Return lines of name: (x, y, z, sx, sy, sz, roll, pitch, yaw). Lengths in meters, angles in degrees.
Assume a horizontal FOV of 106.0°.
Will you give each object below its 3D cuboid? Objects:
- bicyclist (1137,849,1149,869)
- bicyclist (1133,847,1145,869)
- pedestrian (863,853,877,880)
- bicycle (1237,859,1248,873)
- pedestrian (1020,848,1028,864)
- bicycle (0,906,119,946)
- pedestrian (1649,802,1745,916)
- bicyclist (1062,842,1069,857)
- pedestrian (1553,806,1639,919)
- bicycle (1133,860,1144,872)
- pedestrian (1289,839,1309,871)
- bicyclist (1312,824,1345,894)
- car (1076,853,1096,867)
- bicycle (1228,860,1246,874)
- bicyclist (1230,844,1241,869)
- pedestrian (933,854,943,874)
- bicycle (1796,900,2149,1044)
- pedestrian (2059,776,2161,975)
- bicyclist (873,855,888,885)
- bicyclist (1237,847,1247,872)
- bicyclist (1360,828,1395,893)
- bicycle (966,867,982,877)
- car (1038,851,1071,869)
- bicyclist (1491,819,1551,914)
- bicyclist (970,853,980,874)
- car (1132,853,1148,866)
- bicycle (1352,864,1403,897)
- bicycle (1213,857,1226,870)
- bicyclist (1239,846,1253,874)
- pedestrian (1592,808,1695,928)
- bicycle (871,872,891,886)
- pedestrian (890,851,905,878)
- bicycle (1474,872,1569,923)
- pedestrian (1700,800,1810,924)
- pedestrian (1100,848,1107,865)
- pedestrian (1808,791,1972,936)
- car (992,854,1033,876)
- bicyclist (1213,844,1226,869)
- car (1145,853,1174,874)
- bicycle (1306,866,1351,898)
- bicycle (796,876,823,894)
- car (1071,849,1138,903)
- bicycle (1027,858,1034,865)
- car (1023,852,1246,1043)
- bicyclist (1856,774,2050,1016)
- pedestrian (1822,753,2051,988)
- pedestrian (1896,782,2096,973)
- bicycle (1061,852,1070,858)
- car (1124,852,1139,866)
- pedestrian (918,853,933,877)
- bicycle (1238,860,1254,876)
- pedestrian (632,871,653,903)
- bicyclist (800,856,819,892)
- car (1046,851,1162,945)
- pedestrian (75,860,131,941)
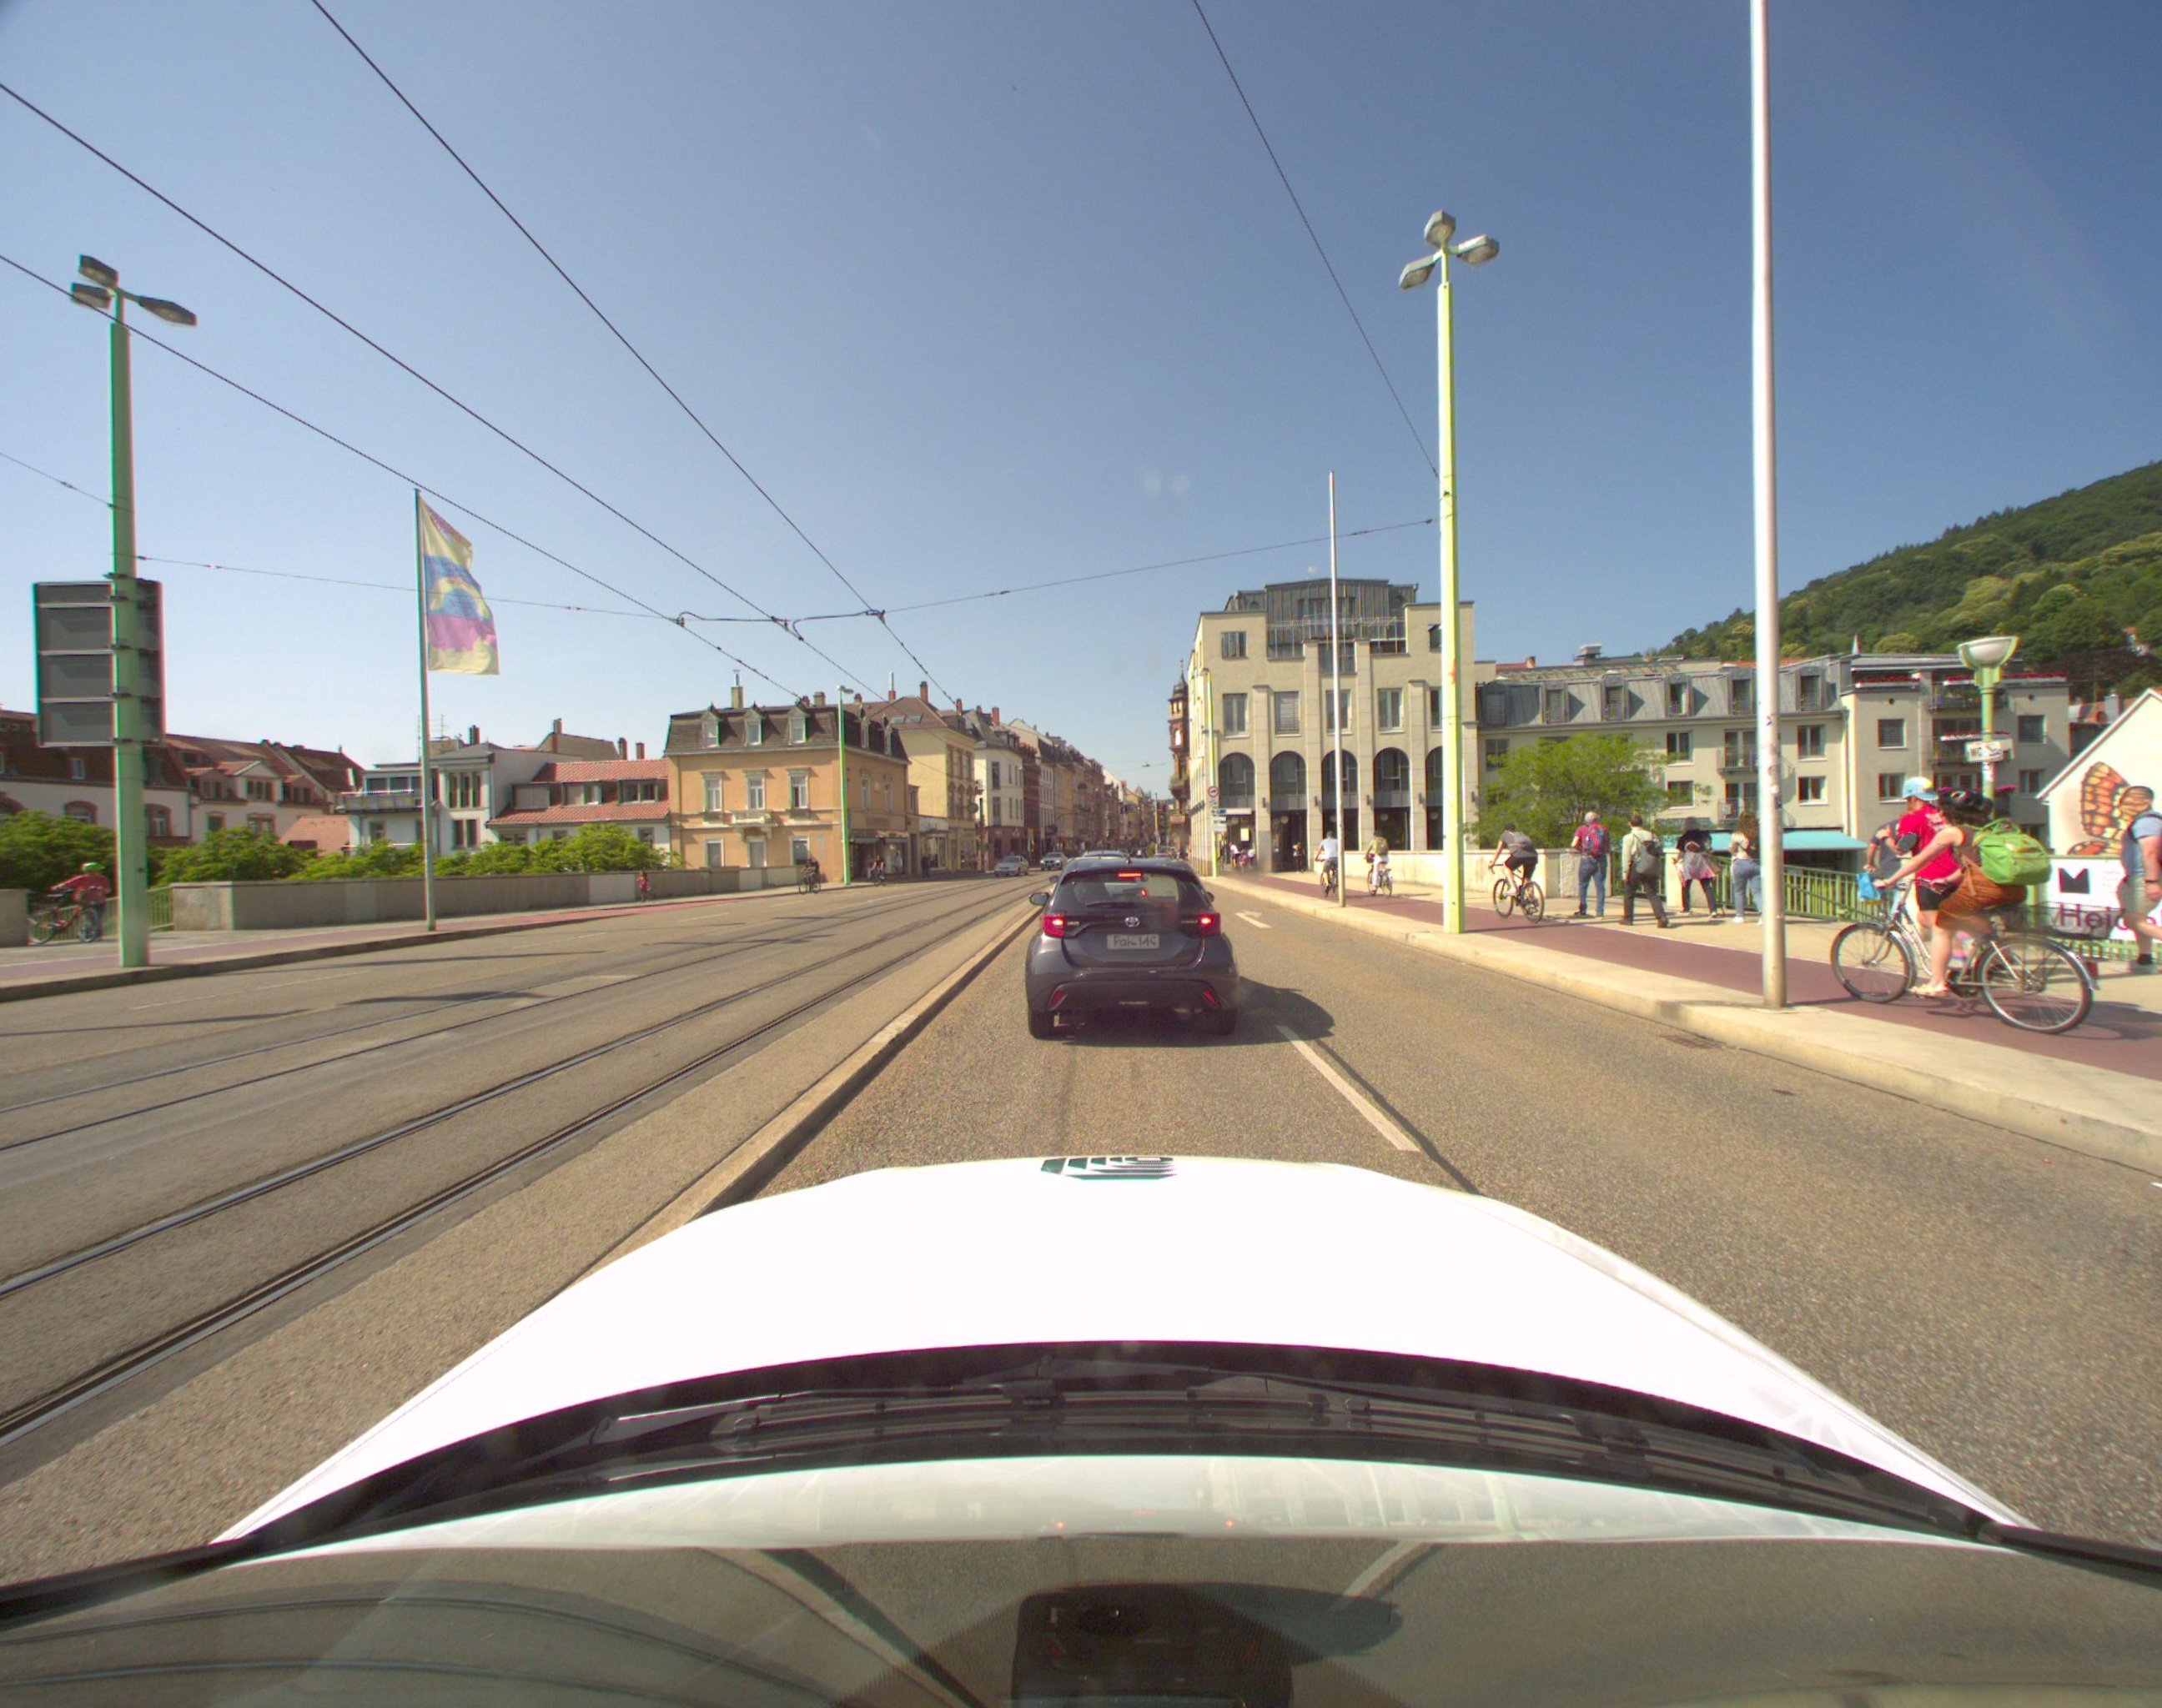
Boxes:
bicyclist: (8.162, 0.705, 106.804, 1.219, 2.529, 1.109, 3, 0, 13)
bicyclist: (7.013, 0.459, 97.991, 1.221, 2.529, 1.107, 3, 0, 7)
pedestrian: (-13.032, 0.796, 50.243, 0.646, 1.602, 0.566, 3, 2, 2)
bicycle: (8.910, 0.660, 44.985, 0.415, 0.765, 0.962, -3, 0, 2)
pedestrian: (-6.174, 0.218, 88.196, 0.733, 1.766, 0.787, 3, 0, 2)
bicycle: (-20.345, 1.413, 16.110, 1.920, 0.716, 0.622, 0, 1, 1)
pedestrian: (10.197, 0.079, 13.518, 0.736, 1.777, 1.016, -3, 0, 1)
bicyclist: (-1.803, -0.542, 93.119, 0.701, 1.650, 0.623, 0, 1, 10)
pedestrian: (8.673, 0.138, 13.751, 0.736, 1.802, 1.016, -3, 0, 1)
bicycle: (6.917, 1.450, 98.067, 1.106, 1.420, 3.013, 3, 0, 7)
pedestrian: (11.575, 0.062, 43.210, 0.736, 1.615, 1.016, 3, 0, 1)
bicyclist: (6.618, 0.142, 21.802, 0.585, 1.820, 0.702, -2, 0, -1)
car: (0.609, 0.642, 92.802, 1.784, 1.545, 3.930, -2, 0, 8)
bicycle: (9.112, 0.747, 47.608, 0.950, 0.765, 0.420, -3, 0, 24)
bicyclist: (9.053, 0.138, 47.612, 0.438, 1.466, 0.488, -3, 0, 24)
pedestrian: (-11.497, 0.797, 65.639, 0.646, 1.602, 0.566, 3, 2, 2)
bicycle: (6.399, 0.792, 6.031, 0.591, 0.765, 1.867, -3, 0, 2)
pedestrian: (9.676, 0.174, 7.218, 0.736, 1.718, 1.016, -2, 0, 1)
bicyclist: (-11.167, 0.873, 45.382, 0.625, 1.650, 0.622, 0, 1, 2)
bicyclist: (8.884, 0.301, 44.978, 0.420, 1.383, 0.443, -3, 0, 1)
bicyclist: (7.735, 0.168, 21.257, 0.585, 1.650, 0.702, -2, 0, -1)
bicycle: (-8.285, 1.411, 63.120, 0.616, 0.716, 2.051, 0, 1, 11)
car: (-2.349, 0.524, 73.666, 1.981, 1.586, 4.665, -2, 0, 10)
bicyclist: (7.512, 0.214, 13.937, 0.585, 1.559, 0.702, -2, 0, -1)
bicyclist: (-8.241, 0.750, 63.305, 0.623, 1.650, 0.623, 0, 1, 10)
car: (9.705, 0.858, 133.481, 1.981, 2.013, 4.011, 3, 0, 10)
bicycle: (7.754, 0.676, 21.370, 0.592, 0.765, 1.866, -3, 0, -1)
bicycle: (9.595, 0.659, 56.497, 0.701, 0.882, 1.526, 3, 0, 2)
bicyclist: (8.472, 0.320, 41.889, 0.532, 1.383, 0.669, -3, 0, 1)
pedestrian: (8.540, 0.205, 12.409, 0.752, 1.718, 1.073, -3, 0, 1)
bicycle: (-11.167, 1.396, 45.458, 0.618, 0.716, 1.732, 0, 1, 2)
pedestrian: (-12.241, 0.707, 54.419, 0.733, 1.766, 0.787, 3, 0, 2)
bicycle: (7.529, 0.718, 14.015, 0.592, 0.765, 1.830, -3, 0, -1)
pedestrian: (10.094, 0.119, 12.240, 0.737, 1.746, 1.016, -3, 0, 0)
pedestrian: (3.580, 0.383, 128.533, 1.047, 2.588, 1.502, 3, 0, 2)
pedestrian: (10.733, 0.110, 10.842, 1.204, 1.777, 0.977, -3, 0, -11)
car: (-4.857, 0.770, 58.034, 1.720, 1.460, 4.387, -2, 0, 11)
bicyclist: (9.606, 0.145, 56.505, 0.699, 1.695, 0.925, 3, 0, 2)
car: (5.516, 0.638, 57.630, 1.699, 1.466, 4.327, 0, 0, 1)
bicycle: (6.638, 0.745, 21.898, 0.592, 0.765, 1.866, -3, 0, -1)
bicycle: (-12.569, 1.427, 37.730, 0.618, 0.716, 1.772, 0, 1, 2)
car: (0.713, 0.622, 25.194, 1.890, 1.530, 4.001, 0, 0, 1)
bicycle: (-5.456, 0.801, 88.286, 0.618, 0.716, 1.772, 3, 0, 2)
car: (0.459, 0.716, 8.114, 1.713, 1.473, 3.659, 0, 0, 1)
bicyclist: (6.371, 0.285, 5.989, 0.602, 1.650, 0.702, -2, 0, 2)
pedestrian: (7.642, 0.137, 7.352, 0.808, 1.924, 1.128, -2, 0, 1)
pedestrian: (8.911, 0.215, 7.988, 0.736, 1.718, 1.016, -3, 0, 1)
bicycle: (-1.809, 0.116, 93.100, 0.616, 0.716, 2.051, 0, 1, 11)
car: (7.382, 0.808, 119.131, 1.983, 2.014, 4.006, 0, -1, 6)
pedestrian: (-10.930, 0.789, 57.169, 0.758, 1.654, 0.713, 3, 0, 8)
bicycle: (8.499, 0.700, 41.892, 0.512, 0.765, 1.661, -3, 0, 2)
pedestrian: (-16.435, 1.234, 30.523, 0.409, 1.146, 0.546, 3, 0, 11)
bicyclist: (-12.572, 0.932, 37.693, 0.625, 1.650, 0.622, 0, 1, 2)
car: (0.419, 0.715, 15.278, 1.890, 1.530, 4.001, 0, 0, 1)
pedestrian: (-19.972, 0.935, 16.631, 0.623, 1.632, 0.413, 1, 0, 1)
